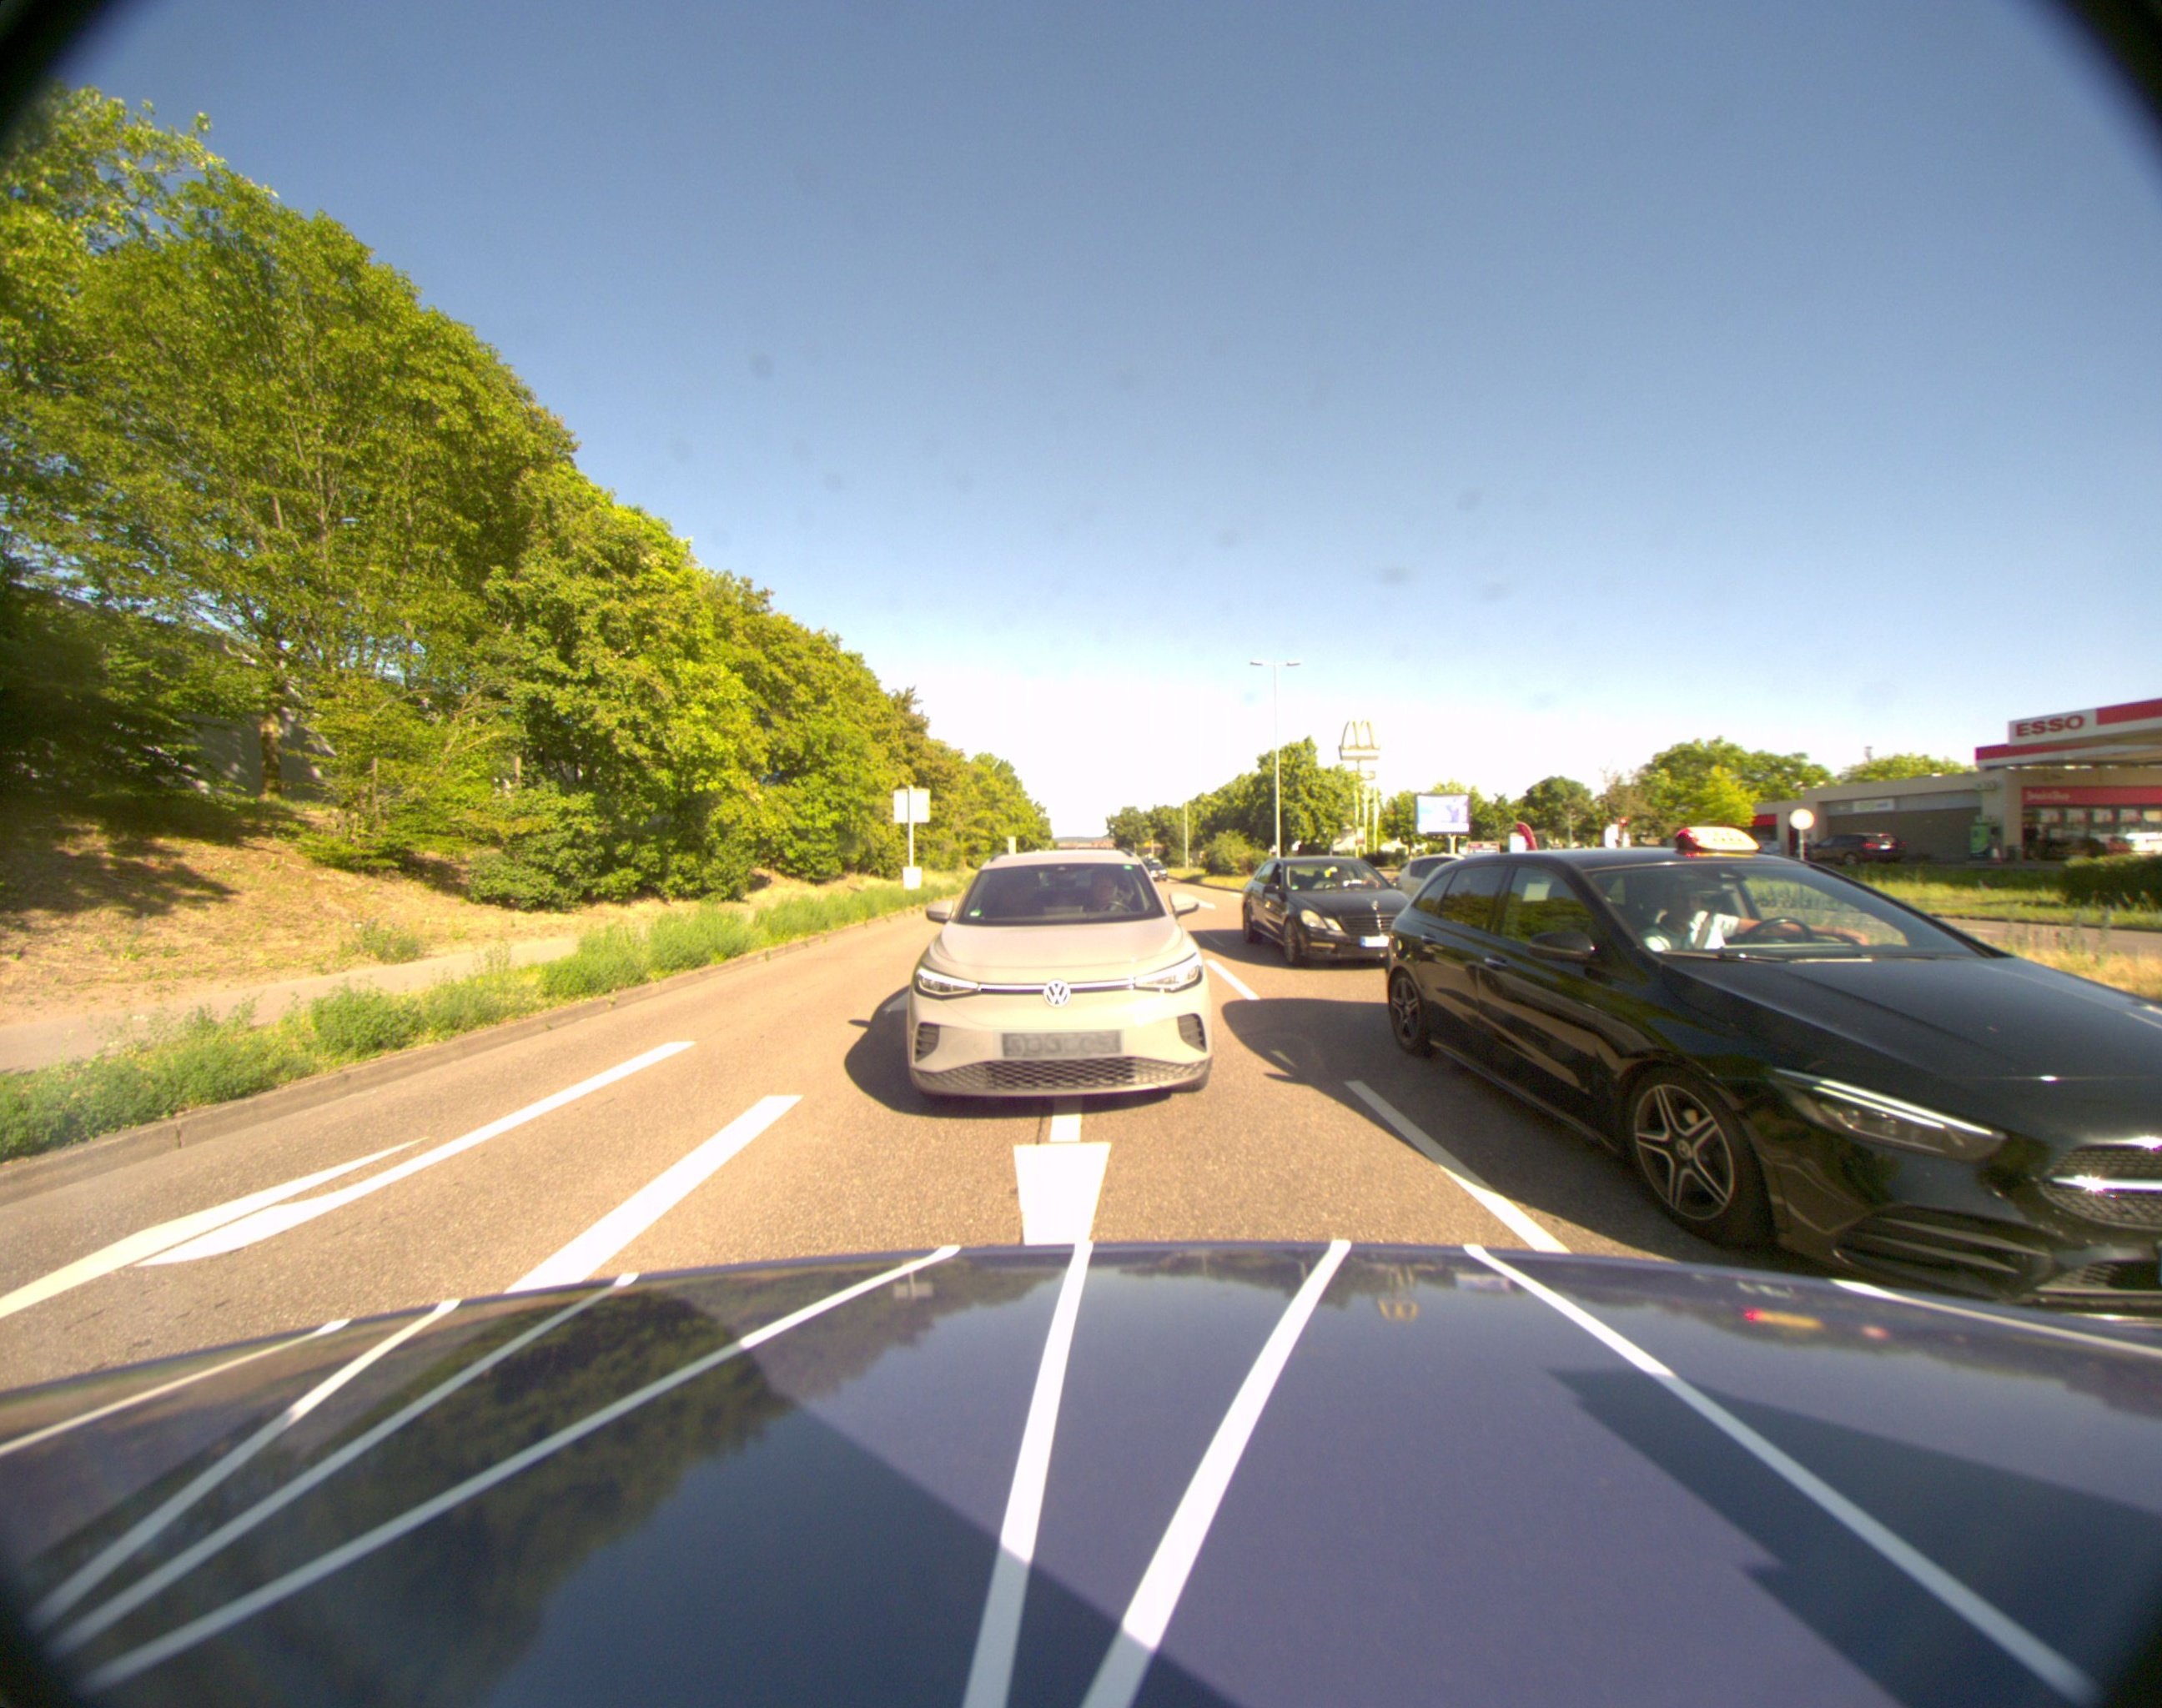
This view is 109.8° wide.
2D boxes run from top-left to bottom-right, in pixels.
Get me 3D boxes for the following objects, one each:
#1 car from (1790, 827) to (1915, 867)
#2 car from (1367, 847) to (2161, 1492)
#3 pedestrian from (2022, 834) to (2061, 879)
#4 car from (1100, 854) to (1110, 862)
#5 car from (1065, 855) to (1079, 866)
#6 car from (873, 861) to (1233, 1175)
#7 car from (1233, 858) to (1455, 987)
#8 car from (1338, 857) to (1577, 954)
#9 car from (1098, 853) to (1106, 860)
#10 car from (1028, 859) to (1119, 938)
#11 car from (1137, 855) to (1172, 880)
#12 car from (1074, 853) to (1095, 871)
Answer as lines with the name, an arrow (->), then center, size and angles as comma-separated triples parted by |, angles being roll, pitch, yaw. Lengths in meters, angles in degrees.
car -> 37.260, -0.325, 36.871 | 1.998, 1.759, 4.118 | -1, 0, 2
car -> 3.162, 0.802, 4.005 | 1.804, 1.616, 4.188 | -1, 0, 2
pedestrian -> 43.281, 0.106, 34.235 | 0.703, 2.002, 0.840 | -1, 1, 1
car -> 4.513, 0.746, 143.961 | 1.862, 1.578, 4.403 | -1, 0, 1
car -> -1.315, 1.009, 113.179 | 1.862, 1.578, 4.403 | -1, 0, 1
car -> -0.120, 0.892, 6.006 | 1.871, 1.588, 3.932 | -2, 0, 1
car -> 3.643, 0.843, 11.451 | 1.862, 1.515, 4.403 | -1, 0, 1
car -> 6.548, 0.799, 13.879 | 1.863, 1.421, 4.401 | -1, 0, -5
car -> 4.857, 0.633, 177.939 | 1.862, 1.578, 4.403 | -1, 0, 1
car -> -0.116, 0.892, 16.981 | 1.765, 1.503, 3.760 | -2, 0, 1
car -> 4.587, 0.832, 47.934 | 1.862, 1.472, 4.403 | -1, 0, 1
car -> 0.396, 0.839, 84.940 | 2.289, 1.863, 5.268 | -1, 0, 1
